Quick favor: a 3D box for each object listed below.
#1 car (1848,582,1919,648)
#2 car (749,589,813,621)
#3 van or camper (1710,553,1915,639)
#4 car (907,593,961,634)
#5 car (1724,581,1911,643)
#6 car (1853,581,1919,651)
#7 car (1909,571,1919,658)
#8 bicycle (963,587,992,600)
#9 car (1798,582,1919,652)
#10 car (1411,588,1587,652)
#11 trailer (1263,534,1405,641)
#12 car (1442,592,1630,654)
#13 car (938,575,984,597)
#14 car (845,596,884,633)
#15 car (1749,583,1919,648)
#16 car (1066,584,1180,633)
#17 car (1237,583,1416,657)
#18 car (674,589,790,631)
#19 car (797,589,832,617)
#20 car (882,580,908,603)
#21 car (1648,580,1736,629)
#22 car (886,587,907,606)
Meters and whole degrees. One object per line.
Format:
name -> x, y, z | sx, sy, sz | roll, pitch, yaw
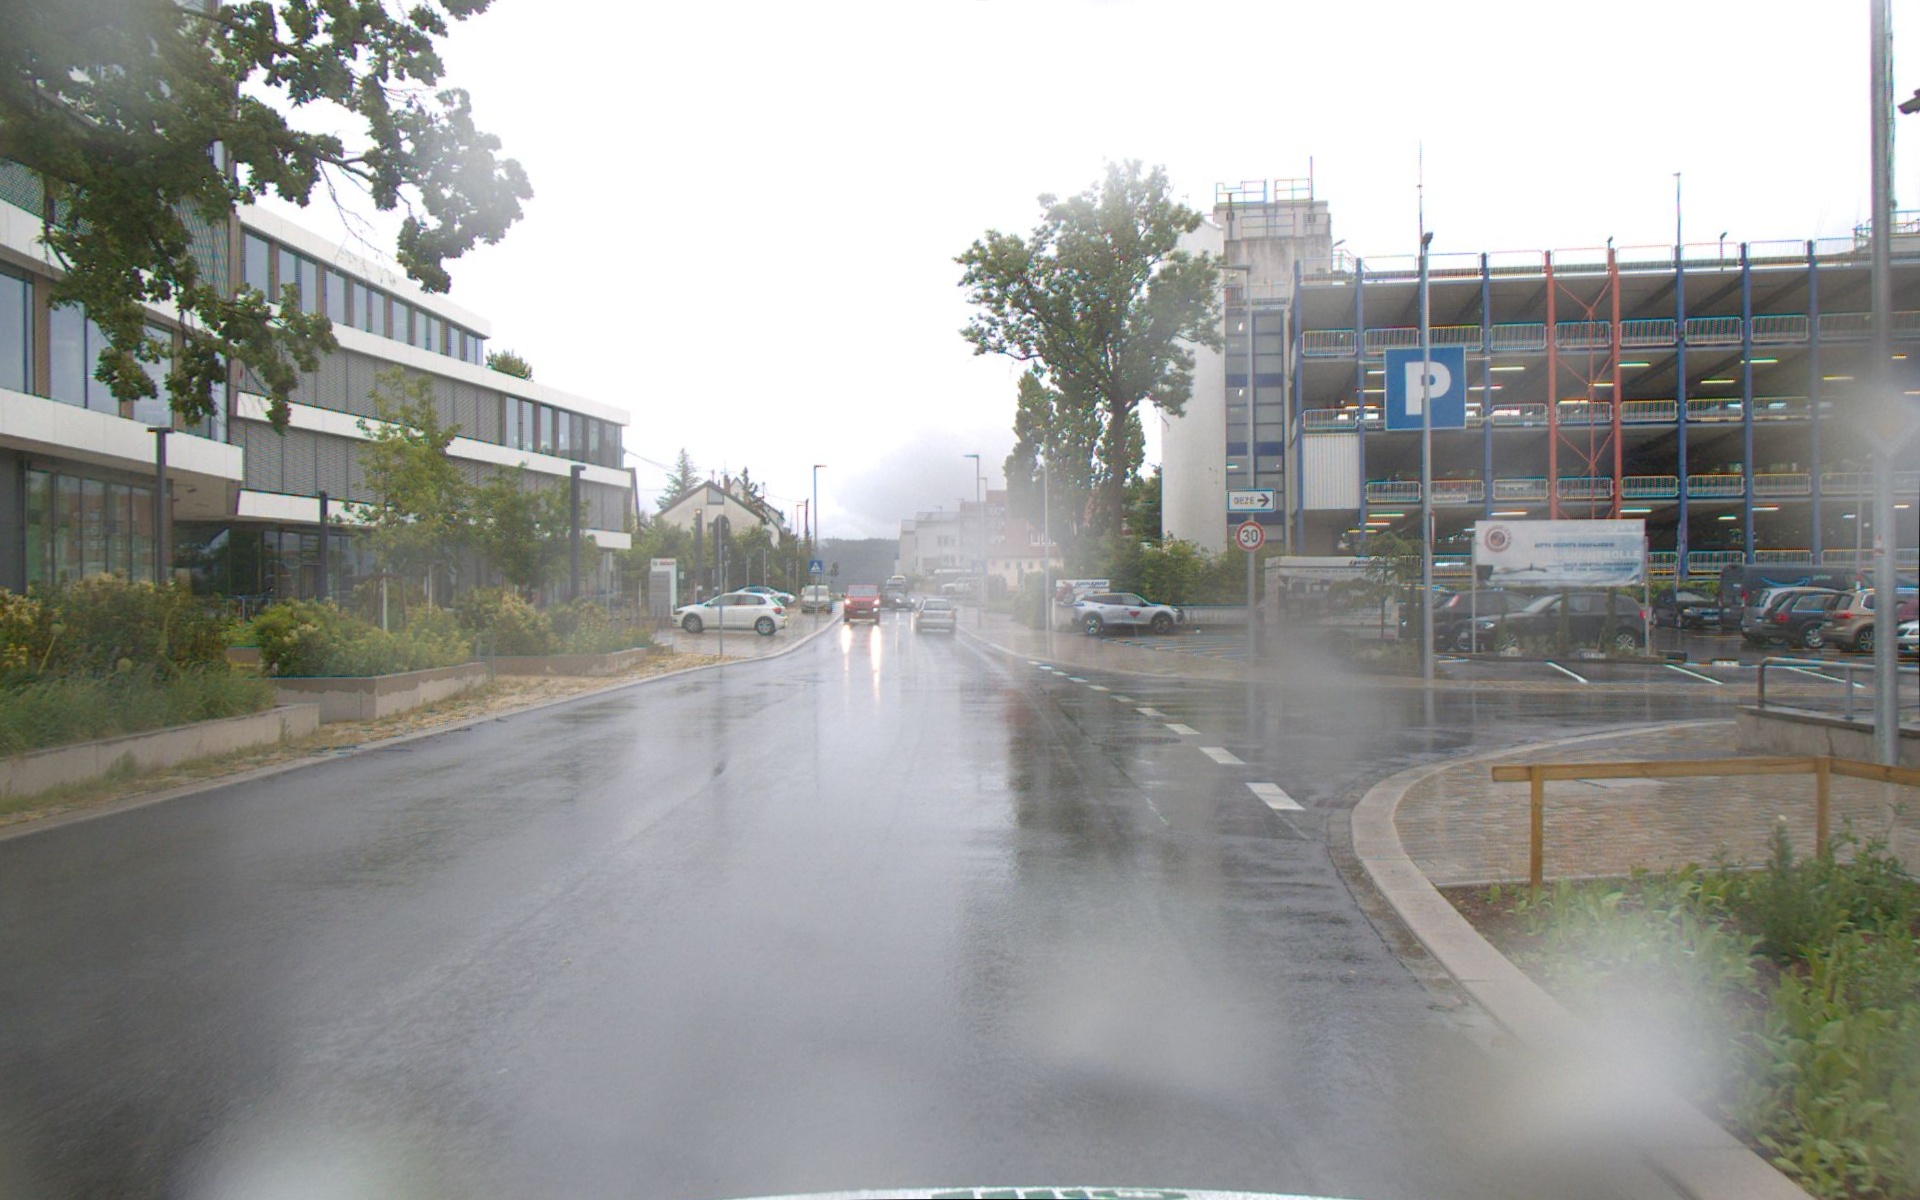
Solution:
car -> 23.778, 0.322, 39.572 | 4.039, 1.523, 1.866 | -1, 0, 6
car -> -13.533, 0.389, 125.134 | 4.664, 2.049, 1.996 | 4, -2, -8
van or camper -> 25.078, -0.108, 48.820 | 4.850, 2.366, 2.224 | -1, 0, 5
car -> -1.135, 0.600, 70.495 | 1.910, 1.583, 3.995 | 4, -2, -5
car -> 24.130, 0.325, 46.654 | 4.262, 1.611, 1.866 | -1, 0, 6
car -> 22.683, 0.314, 37.343 | 4.038, 1.523, 1.867 | -1, 0, 12
car -> 22.509, 0.257, 34.413 | 4.380, 1.860, 1.895 | -1, 0, 13
bicycle -> 1.517, -0.598, 146.571 | 0.662, 1.085, 3.586 | 5, -2, -34
car -> 23.704, 0.402, 41.850 | 4.039, 1.696, 1.866 | -1, 0, 6
car -> 12.926, 0.463, 39.767 | 3.654, 1.474, 1.729 | 0, 0, -6
trailer -> 7.900, -0.261, 35.085 | 2.647, 2.209, 1.548 | 0, 0, -1
car -> 13.027, 0.512, 37.516 | 3.654, 1.338, 1.691 | 0, 0, -6
car -> 0.119, -1.271, 153.117 | 4.033, 1.736, 1.786 | 4, -2, -6
car -> -4.981, 0.717, 85.874 | 1.963, 1.849, 4.976 | 0, 0, -4
car -> 23.726, 0.396, 44.318 | 4.262, 1.611, 1.866 | -1, 0, 6
car -> 6.076, 0.313, 61.535 | 4.118, 1.678, 2.002 | -2, 0, 7
car -> 8.317, 0.448, 37.734 | 3.651, 1.555, 1.649 | -1, -1, -3
car -> -7.941, 0.349, 57.900 | 3.848, 1.448, 1.897 | 0, 0, -2
car -> -9.037, 0.164, 102.851 | 1.954, 1.657, 4.151 | 0, 1, -3
car -> -5.579, -0.677, 141.912 | 2.111, 1.736, 3.997 | 4, -2, -3
car -> 26.601, 0.191, 60.201 | 1.852, 1.512, 4.002 | 3, -2, 8
car -> -6.459, -0.325, 168.563 | 1.954, 1.736, 3.997 | 4, -2, -3
